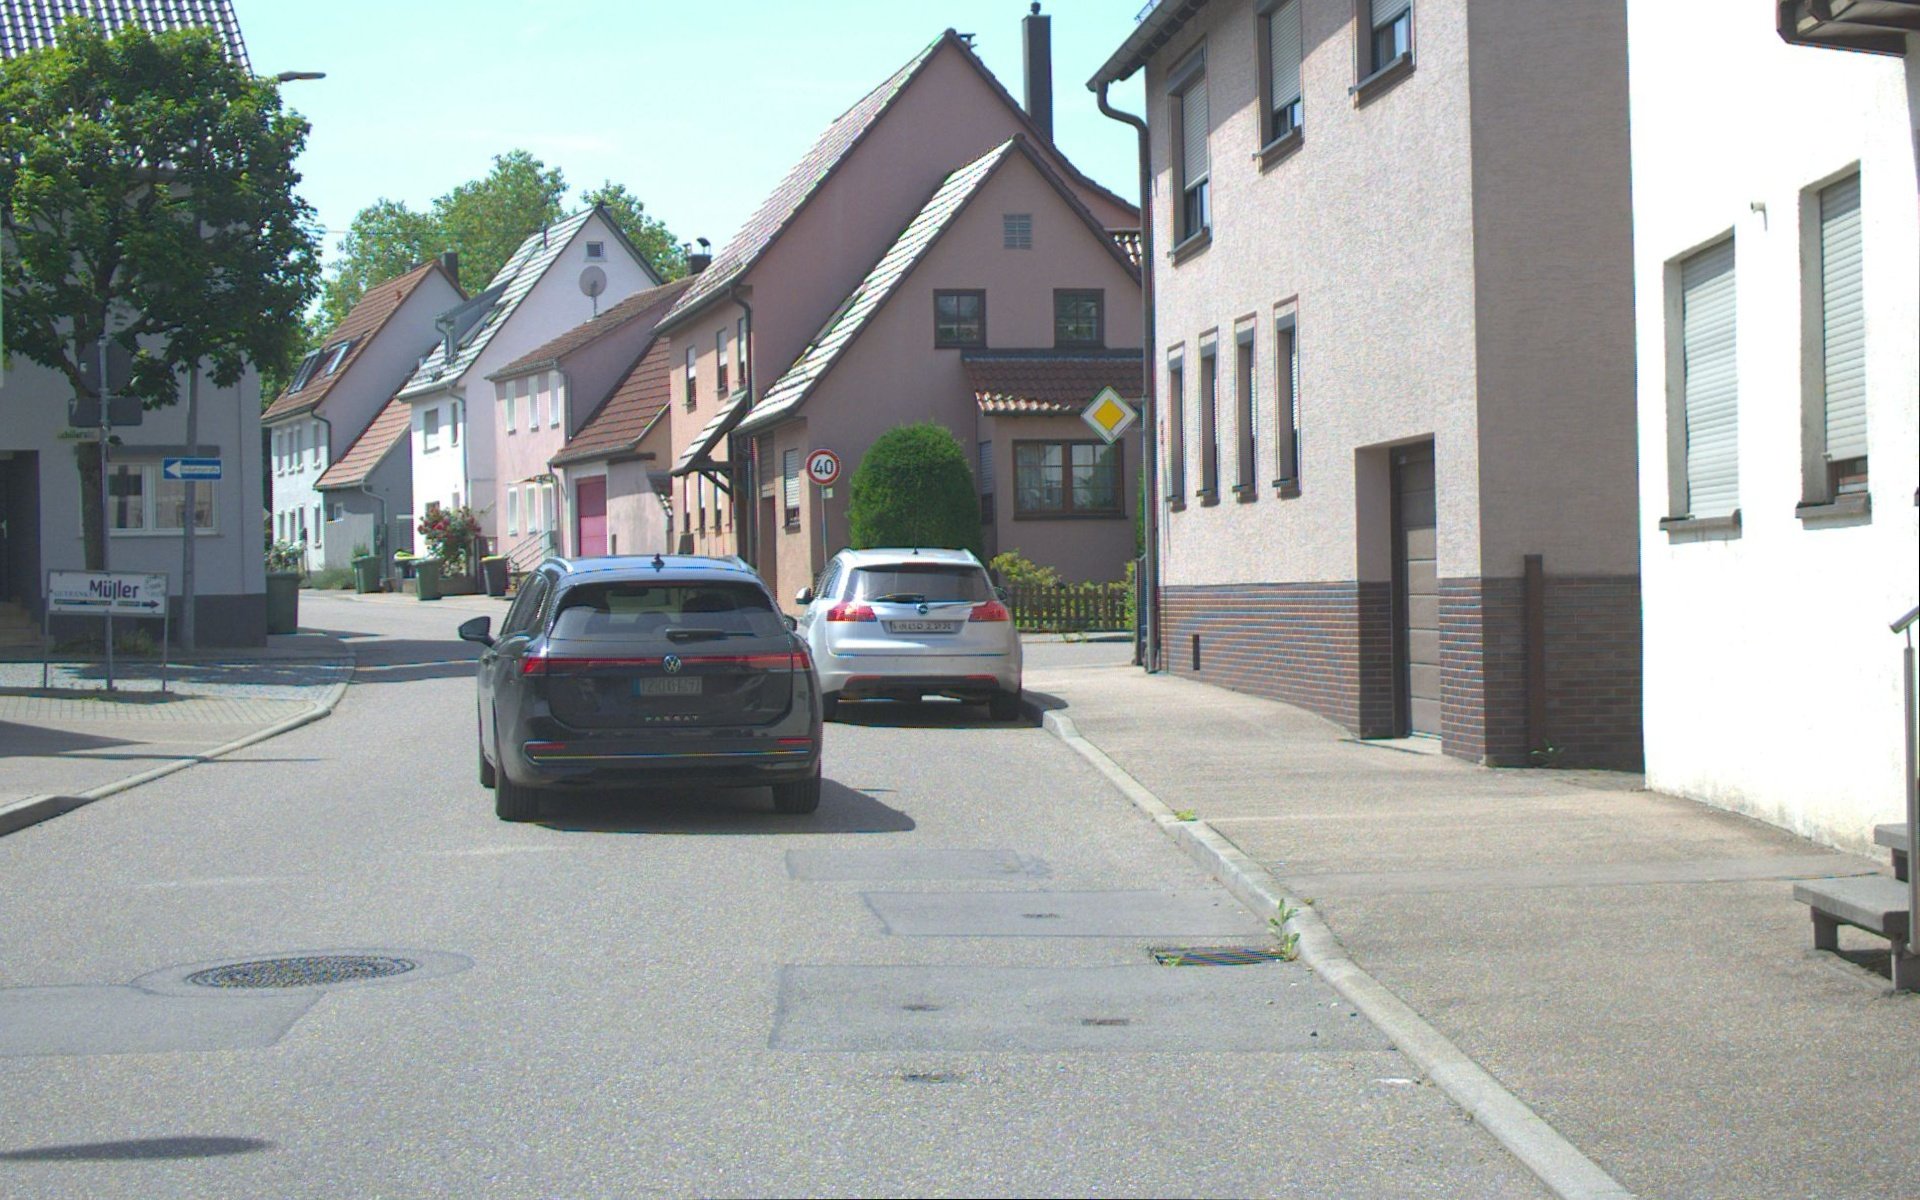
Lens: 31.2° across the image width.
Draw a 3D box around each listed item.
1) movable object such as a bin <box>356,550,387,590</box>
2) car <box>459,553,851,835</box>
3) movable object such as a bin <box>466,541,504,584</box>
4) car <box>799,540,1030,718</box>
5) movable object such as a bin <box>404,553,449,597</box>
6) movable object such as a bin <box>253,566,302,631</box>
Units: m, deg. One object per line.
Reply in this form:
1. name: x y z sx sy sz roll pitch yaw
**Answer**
1. movable object such as a bin: -16.916 -0.862 98.798 0.678 1.151 0.820 0 1 -25
2. car: -1.908 0.449 20.124 1.841 1.415 4.684 0 1 -11
3. movable object such as a bin: -12.332 -0.983 89.273 0.678 1.046 0.835 -6 3 -25
4. car: -0.475 0.204 30.351 1.785 1.437 4.338 0 1 -4
5. movable object such as a bin: -13.928 -0.655 89.789 0.876 1.071 0.873 -6 3 -25
6. movable object such as a bin: -11.300 -0.028 56.926 0.753 1.056 0.680 -1 1 -14
